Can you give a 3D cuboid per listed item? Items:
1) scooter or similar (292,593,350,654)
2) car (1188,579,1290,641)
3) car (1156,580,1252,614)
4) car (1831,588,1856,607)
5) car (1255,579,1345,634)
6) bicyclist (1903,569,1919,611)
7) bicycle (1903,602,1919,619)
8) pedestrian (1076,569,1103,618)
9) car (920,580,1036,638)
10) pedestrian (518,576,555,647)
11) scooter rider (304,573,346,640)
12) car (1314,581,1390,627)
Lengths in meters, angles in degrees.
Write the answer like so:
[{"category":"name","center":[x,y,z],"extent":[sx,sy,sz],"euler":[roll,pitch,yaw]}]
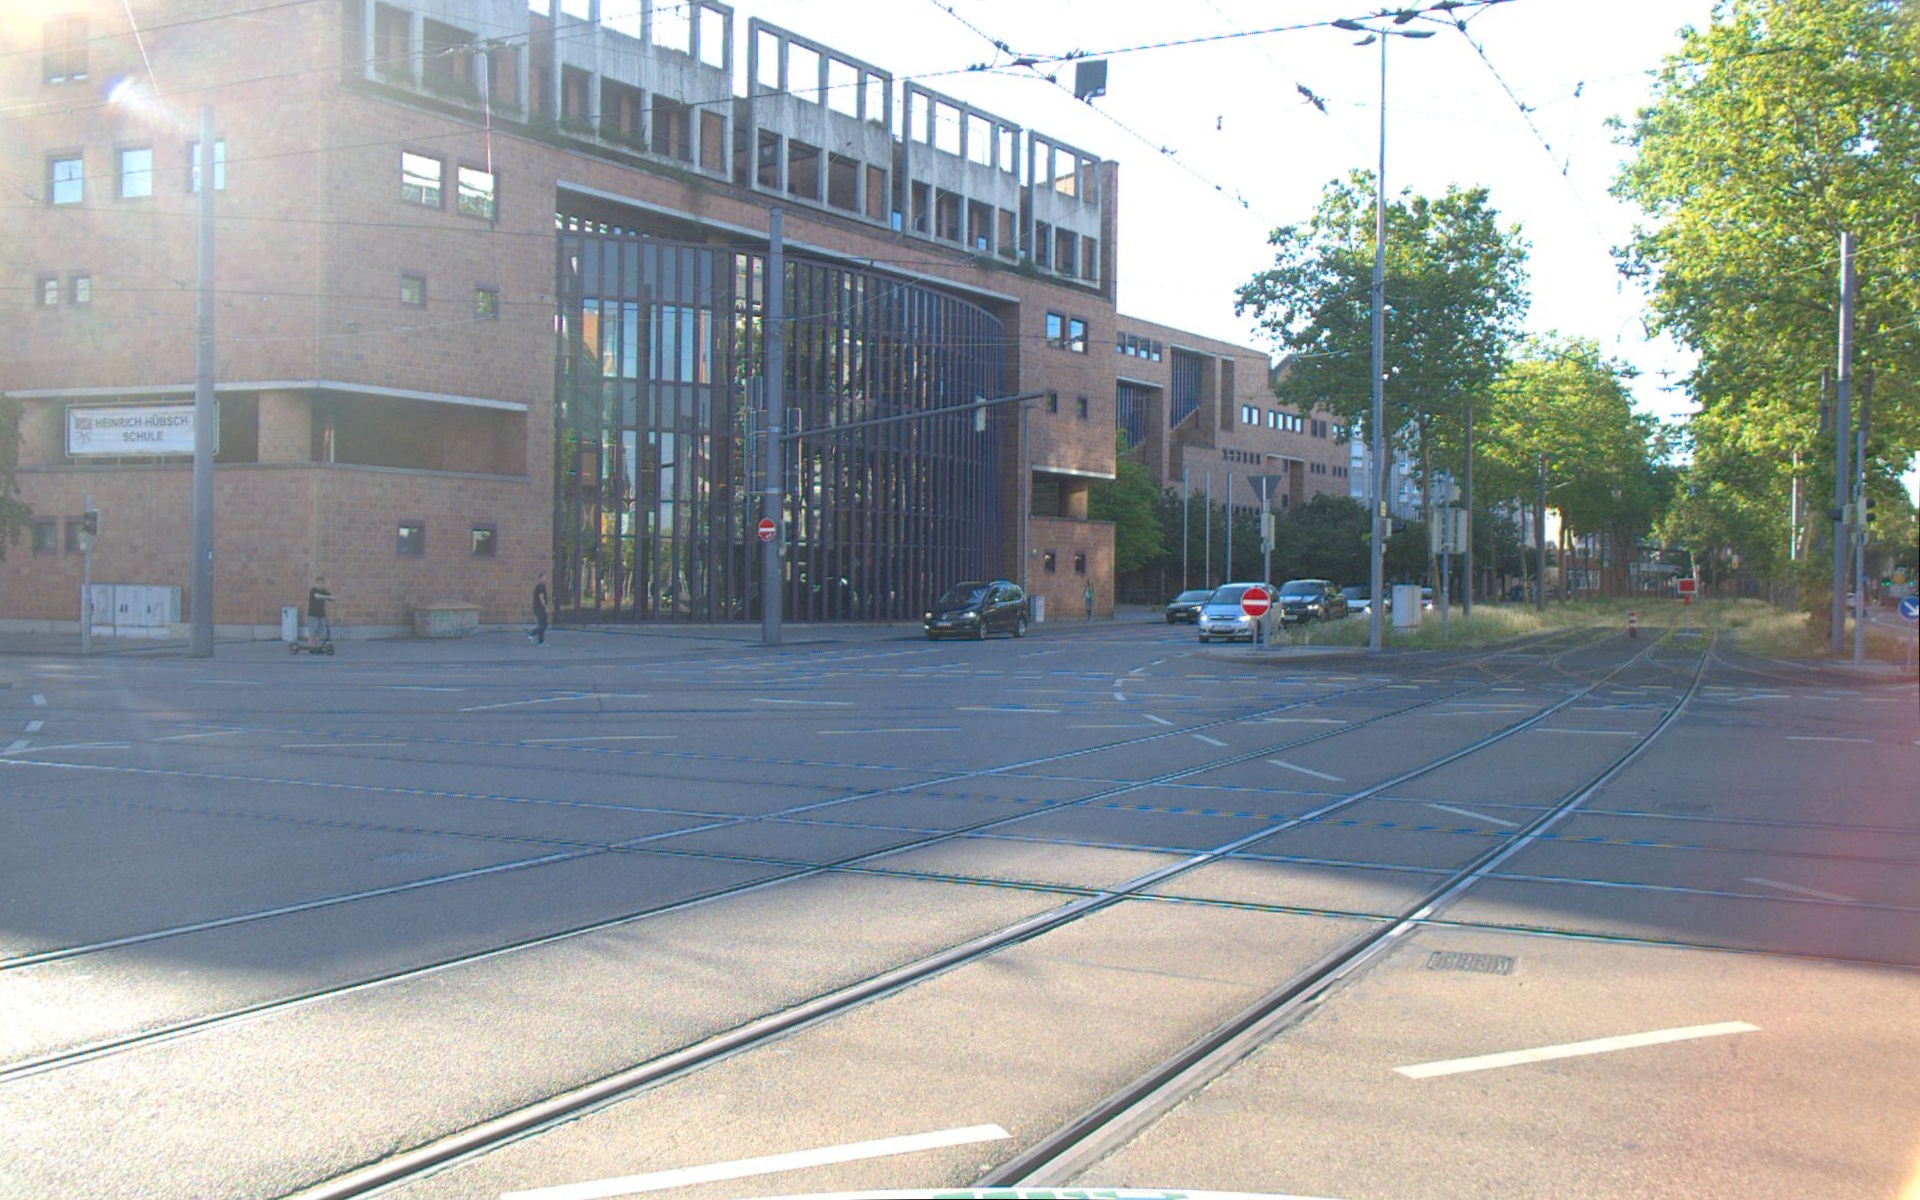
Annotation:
[{"category":"scooter or similar","center":[-14.317,0.514,37.074],"extent":[1.105,1.341,0.529],"euler":[0,1,15]},{"category":"car","center":[7.875,0.232,46.403],"extent":[1.696,1.624,4.322],"euler":[0,1,26]},{"category":"car","center":[10.484,-0.150,70.977],"extent":[3.957,1.400,1.897],"euler":[-1,1,-37]},{"category":"car","center":[75.555,-0.197,141.396],"extent":[1.818,1.579,4.319],"euler":[0,1,29]},{"category":"car","center":[10.958,0.166,53.126],"extent":[1.817,1.679,4.322],"euler":[0,1,26]},{"category":"bicyclist","center":[47.154,-0.513,81.837],"extent":[0.739,2.048,0.741],"euler":[2,1,34]},{"category":"bicycle","center":[47.171,0.510,81.790],"extent":[0.803,0.788,1.725],"euler":[0,1,34]},{"category":"pedestrian","center":[5.457,-0.287,69.762],"extent":[0.748,2.049,0.890],"euler":[0,1,-31]},{"category":"car","center":[0.619,0.238,50.614],"extent":[1.797,1.683,4.497],"euler":[-1,1,26]},{"category":"pedestrian","center":[-10.699,0.280,41.746],"extent":[0.811,1.746,0.659],"euler":[0,1,-24]},{"category":"scooter rider","center":[-14.223,0.131,37.046],"extent":[0.704,1.486,0.508],"euler":[0,1,16]},{"category":"car","center":[14.350,0.109,60.398],"extent":[1.817,1.579,4.322],"euler":[0,1,26]}]
